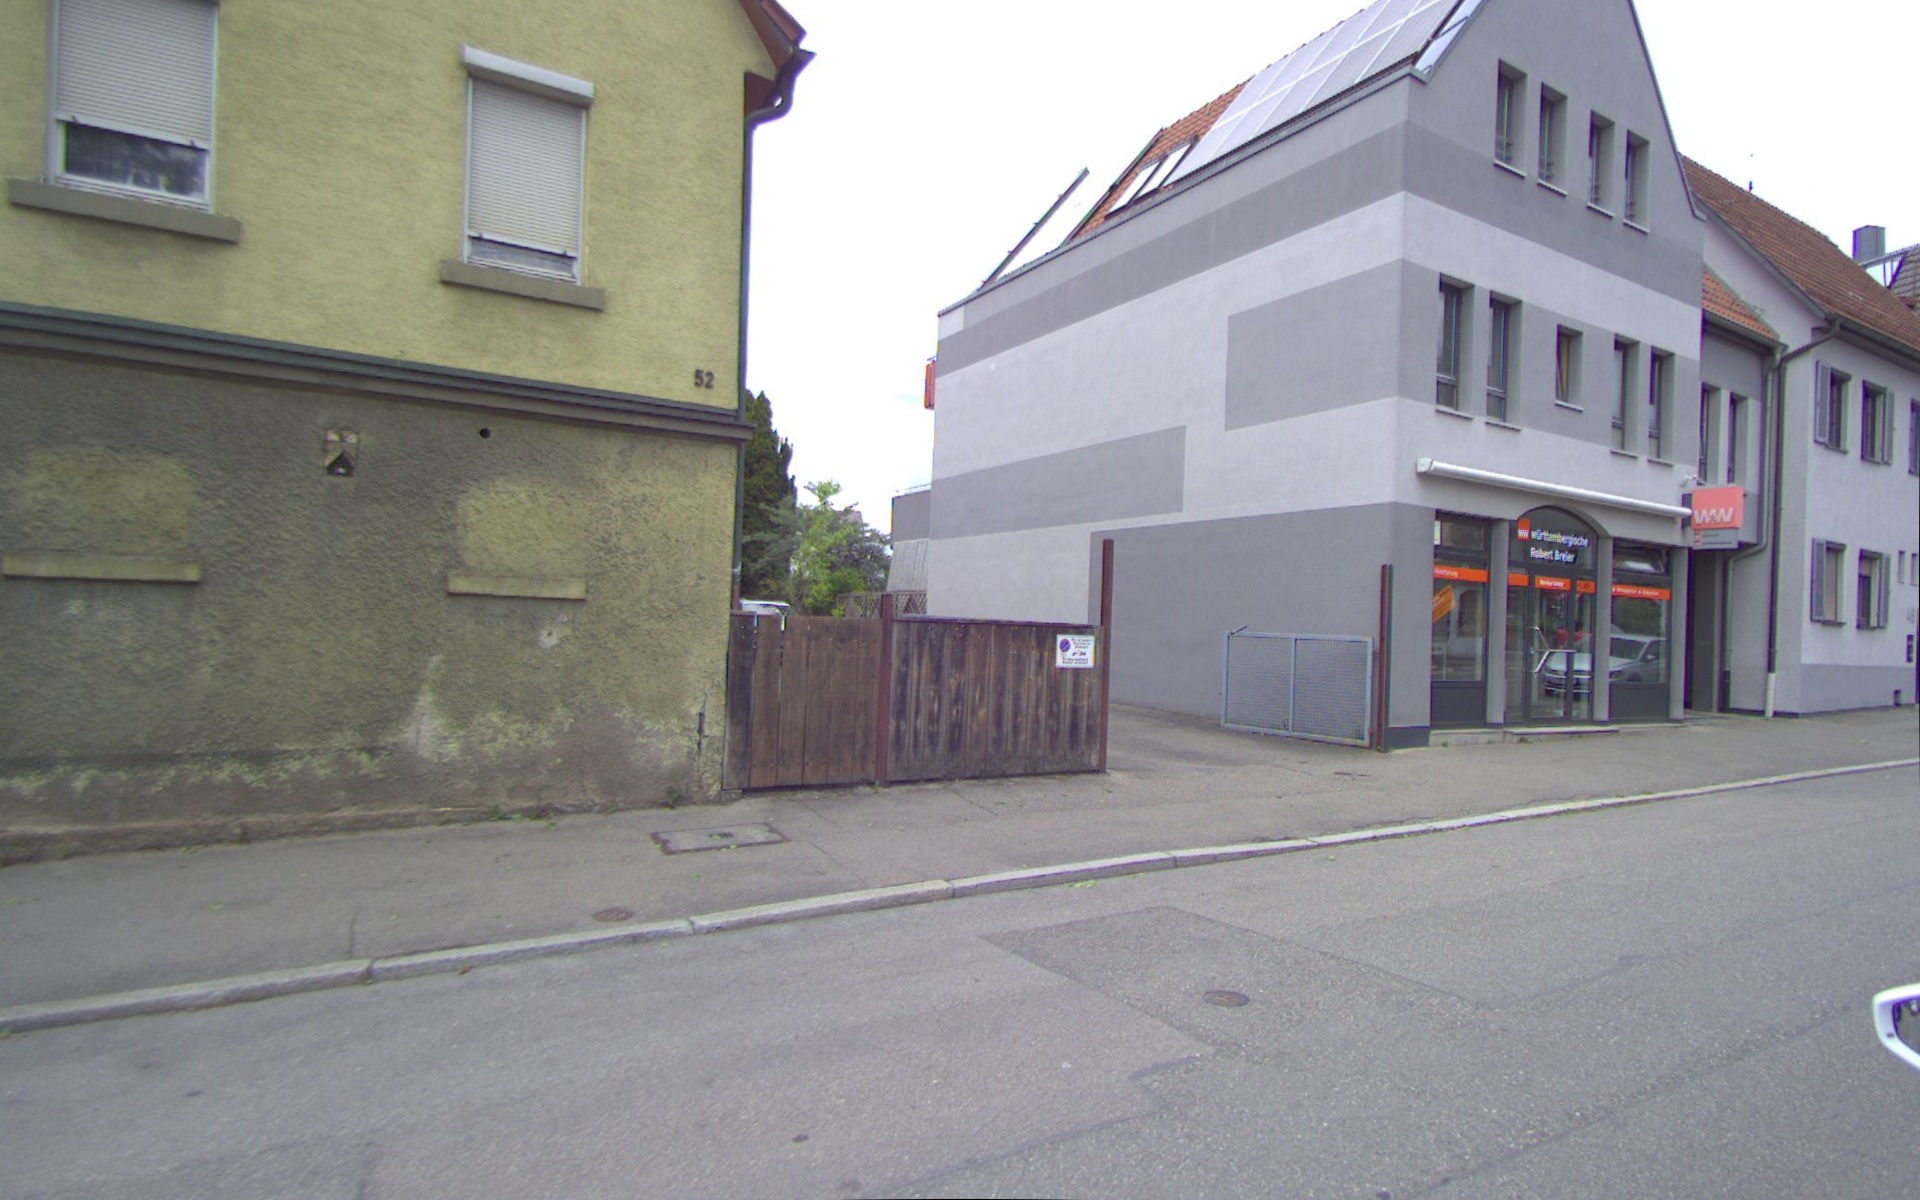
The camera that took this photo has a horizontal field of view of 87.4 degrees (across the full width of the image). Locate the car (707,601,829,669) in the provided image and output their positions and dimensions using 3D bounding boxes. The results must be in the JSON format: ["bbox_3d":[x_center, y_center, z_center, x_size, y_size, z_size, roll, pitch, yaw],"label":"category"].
[{"bbox_3d":[-5.142,0.891,26.519,1.924,1.545,3.924,3,-1,-30],"label":"car"}]
